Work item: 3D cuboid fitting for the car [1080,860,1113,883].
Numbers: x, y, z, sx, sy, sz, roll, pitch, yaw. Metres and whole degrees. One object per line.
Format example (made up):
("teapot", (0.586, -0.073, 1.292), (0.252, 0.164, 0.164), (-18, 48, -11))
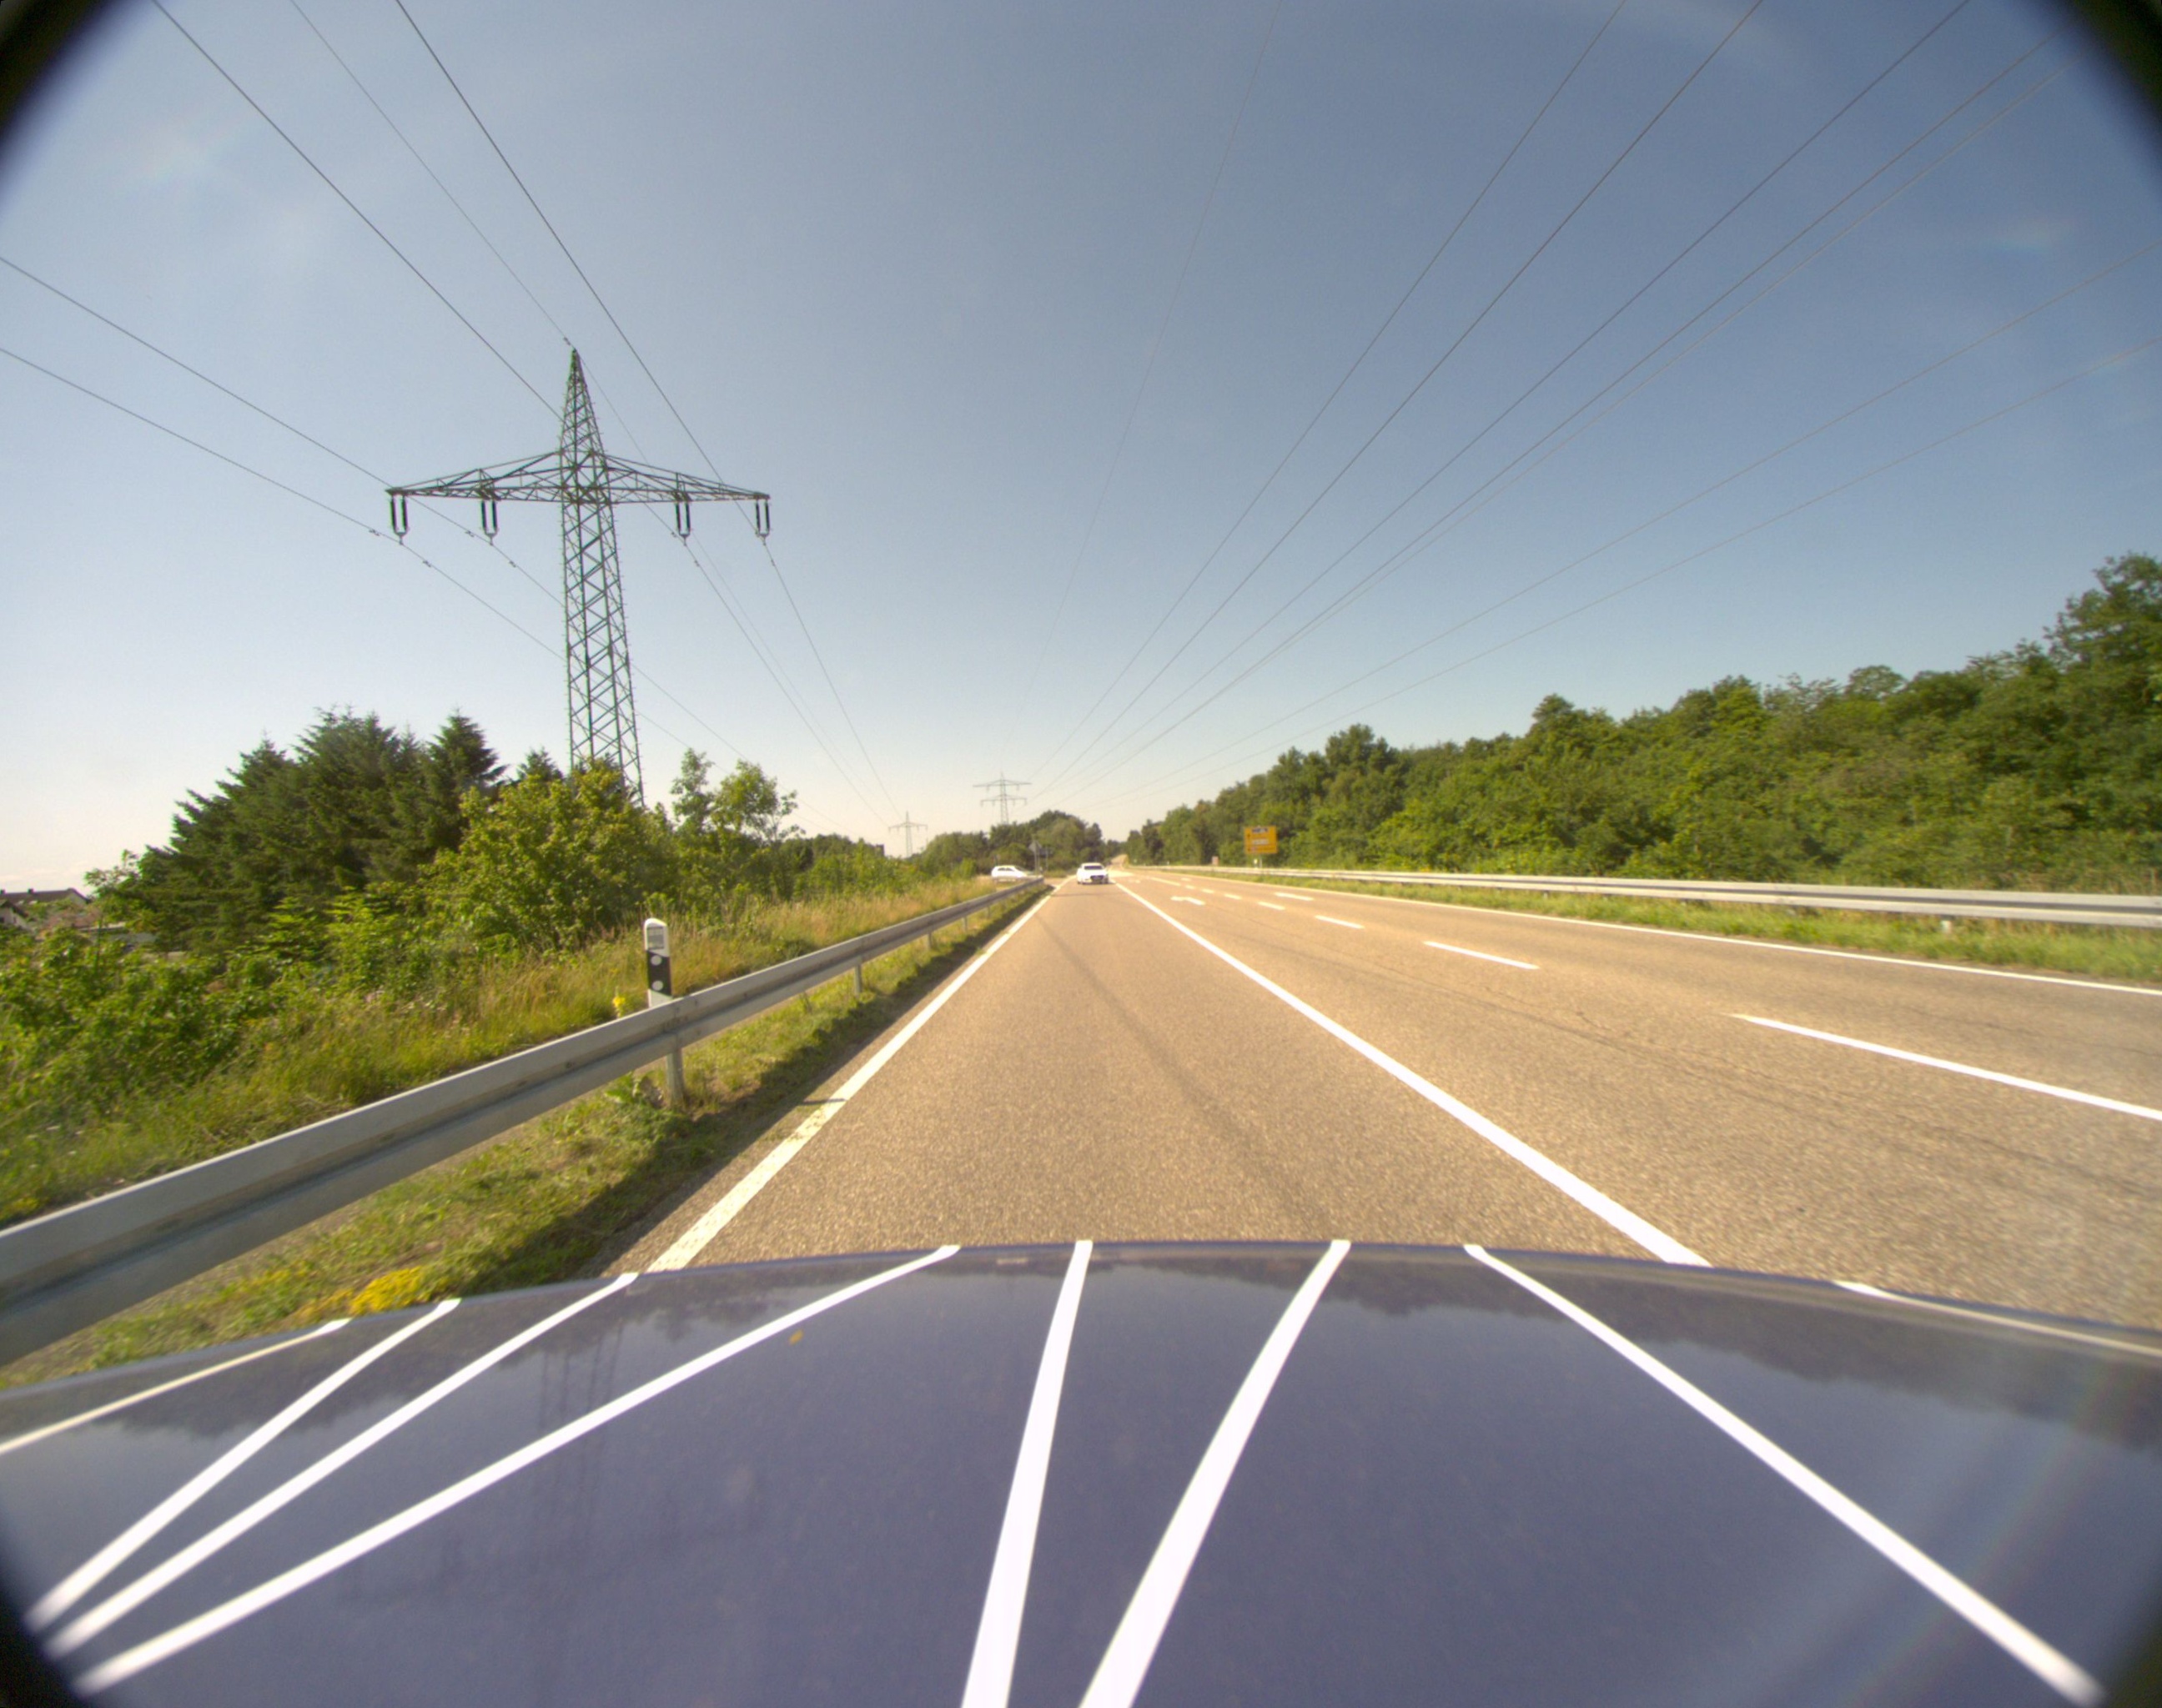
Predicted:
("car", (1.034, 1.193, 53.866), (1.684, 1.471, 4.471), (-3, 0, -6))

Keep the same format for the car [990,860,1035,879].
("car", (-5.972, 1.351, 66.320), (3.652, 1.460, 1.553), (-3, 0, 28))
